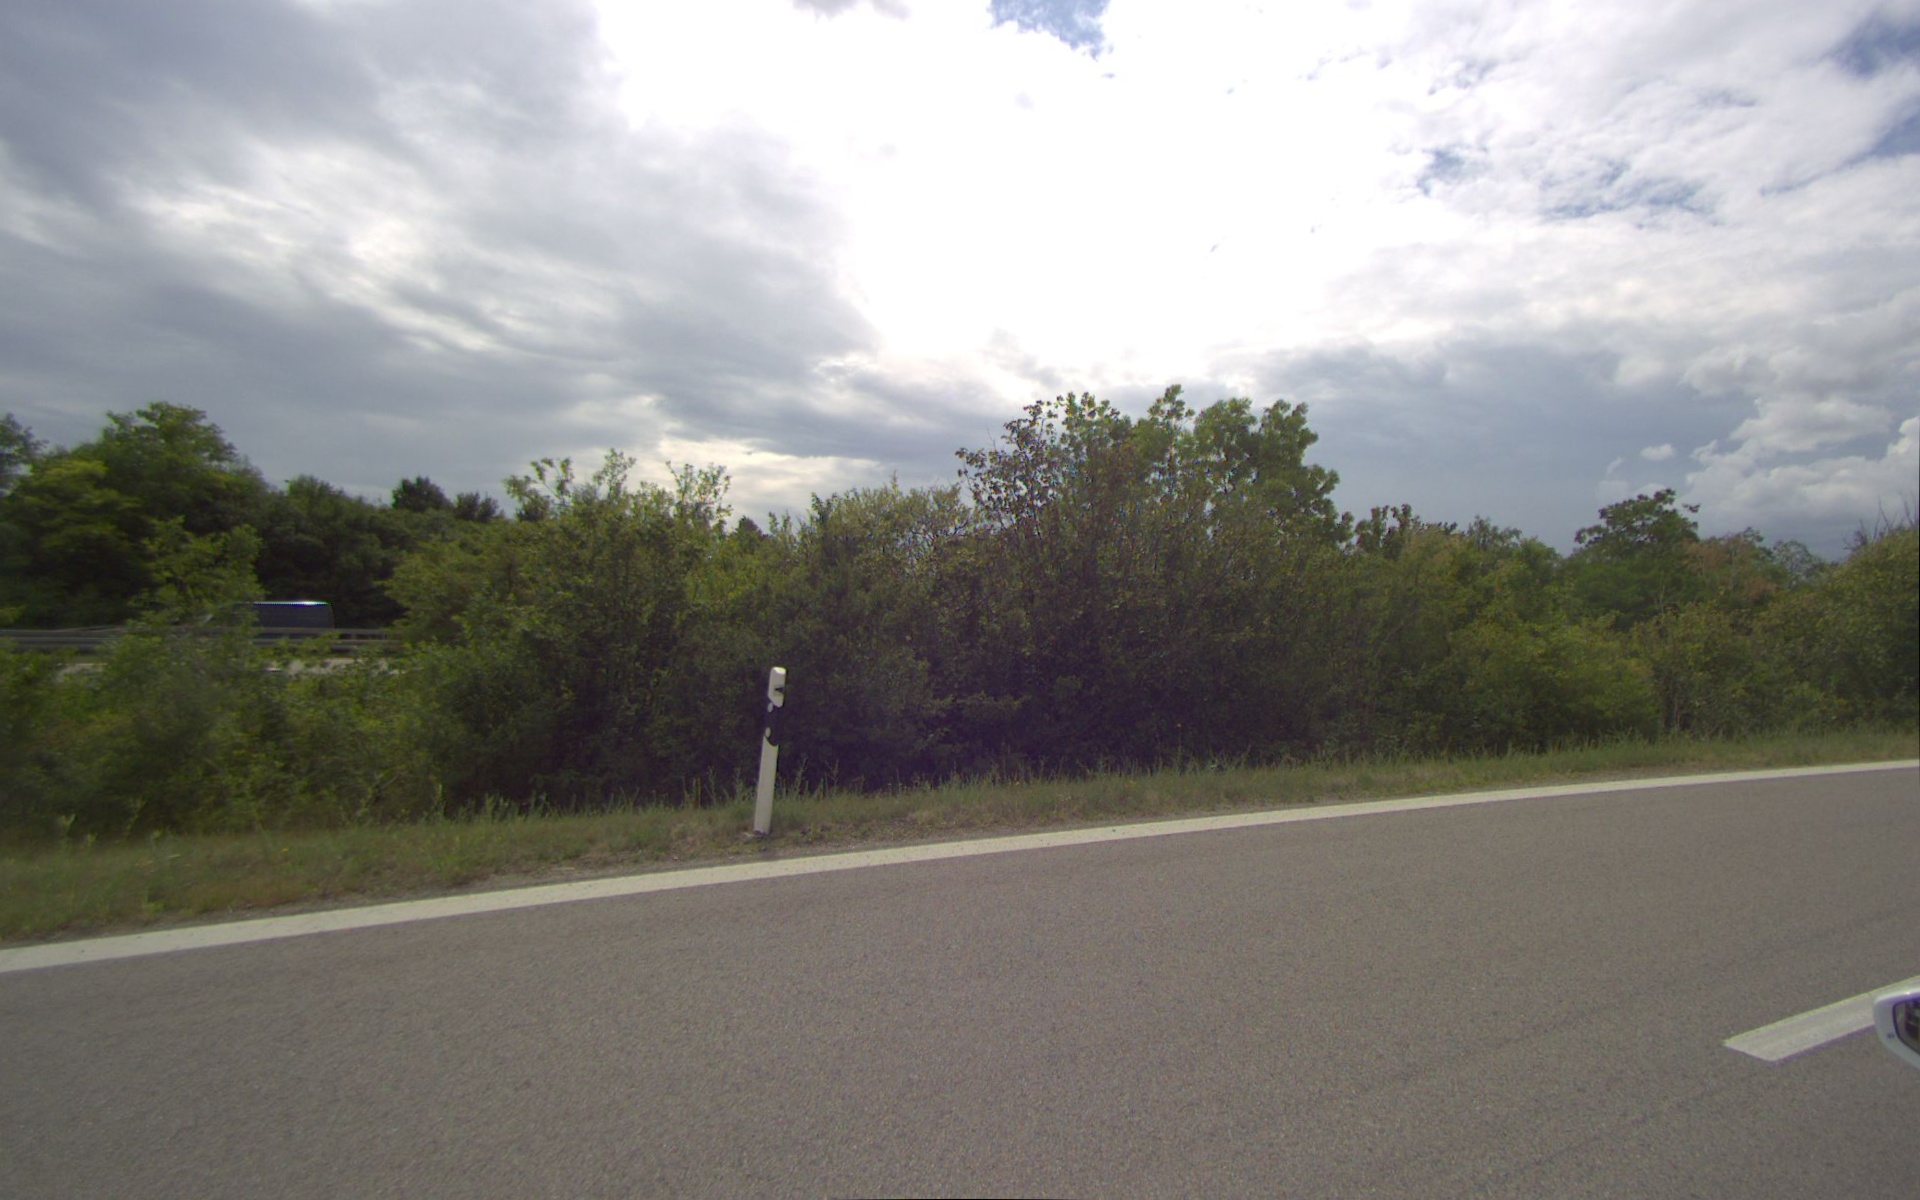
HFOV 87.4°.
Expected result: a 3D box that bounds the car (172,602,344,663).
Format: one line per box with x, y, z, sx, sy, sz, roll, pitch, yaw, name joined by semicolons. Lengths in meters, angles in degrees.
-31.060;1.390;44.723;2.102;2.467;5.963;2;0;25;car
